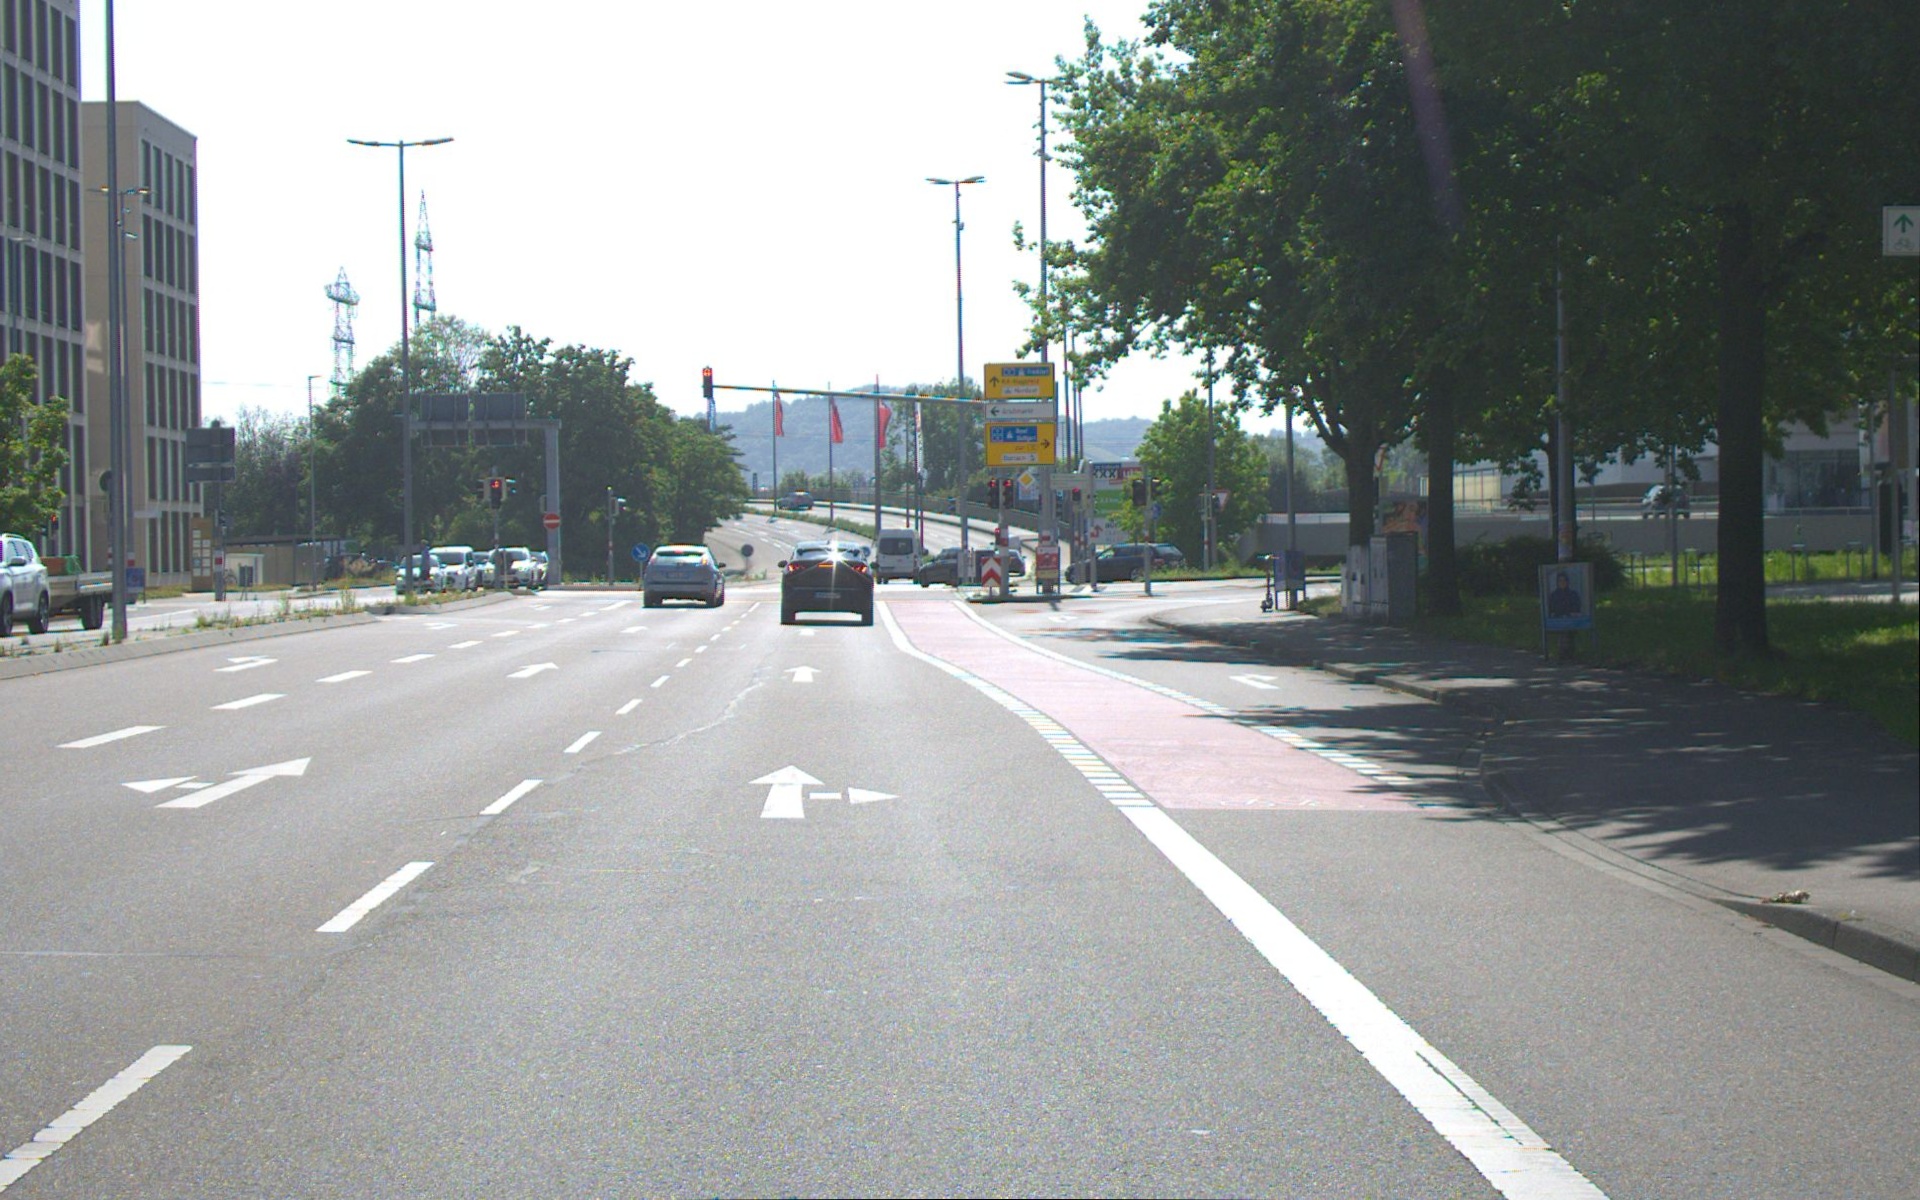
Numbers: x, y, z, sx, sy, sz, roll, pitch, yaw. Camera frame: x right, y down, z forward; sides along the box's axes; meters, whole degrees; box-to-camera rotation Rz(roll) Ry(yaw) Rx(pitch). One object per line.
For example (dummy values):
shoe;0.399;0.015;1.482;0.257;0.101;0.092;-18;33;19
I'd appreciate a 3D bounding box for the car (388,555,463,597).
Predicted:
car;-19.473;-0.879;125.422;1.892;1.459;4.000;-1;1;3

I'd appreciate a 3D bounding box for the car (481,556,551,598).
car;-16.326;-0.857;126.653;1.816;1.459;4.000;-1;1;3

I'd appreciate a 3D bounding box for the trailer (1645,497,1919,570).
trailer;31.968;-2.502;129.518;11.871;2.460;2.000;1;2;1

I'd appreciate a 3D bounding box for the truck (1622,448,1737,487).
truck;39.943;-7.342;190.871;5.909;2.006;2.000;1;2;1

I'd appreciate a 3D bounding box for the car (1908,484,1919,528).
car;46.612;-4.352;160.660;3.986;2.006;2.000;1;2;-2

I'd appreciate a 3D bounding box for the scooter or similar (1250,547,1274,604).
scooter or similar;6.604;-0.541;75.115;0.351;1.229;1.310;-1;1;12

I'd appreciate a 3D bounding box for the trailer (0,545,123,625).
trailer;-17.634;-0.315;66.008;1.993;1.448;5.773;-1;1;-3

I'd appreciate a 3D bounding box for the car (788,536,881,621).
car;-2.539;-0.469;70.038;1.807;1.634;4.459;-1;1;-2

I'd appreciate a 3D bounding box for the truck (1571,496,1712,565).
truck;25.685;-2.632;129.648;4.881;2.415;2.000;1;2;2

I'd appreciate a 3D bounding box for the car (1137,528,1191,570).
car;7.317;-1.848;123.447;1.689;1.354;4.000;1;2;0

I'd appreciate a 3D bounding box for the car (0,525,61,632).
car;-17.377;-0.387;60.608;1.993;1.826;4.938;-1;1;-3

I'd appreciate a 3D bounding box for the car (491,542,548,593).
car;-12.257;-0.910;95.725;1.215;1.326;2.800;1;2;0

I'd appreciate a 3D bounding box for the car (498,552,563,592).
car;-16.670;-1.106;133.620;1.816;1.459;4.000;-1;1;3

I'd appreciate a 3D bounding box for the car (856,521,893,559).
car;-4.830;-3.387;194.585;1.993;2.006;3.981;1;2;-1

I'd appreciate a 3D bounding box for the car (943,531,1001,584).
car;0.416;-1.527;123.099;1.757;1.752;3.603;1;2;-4

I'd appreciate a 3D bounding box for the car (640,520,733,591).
car;-6.717;-1.103;84.846;1.993;1.678;4.000;-1;1;-1

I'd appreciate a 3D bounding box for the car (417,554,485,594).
car;-19.624;-1.003;132.744;1.816;1.459;4.000;-1;1;3
